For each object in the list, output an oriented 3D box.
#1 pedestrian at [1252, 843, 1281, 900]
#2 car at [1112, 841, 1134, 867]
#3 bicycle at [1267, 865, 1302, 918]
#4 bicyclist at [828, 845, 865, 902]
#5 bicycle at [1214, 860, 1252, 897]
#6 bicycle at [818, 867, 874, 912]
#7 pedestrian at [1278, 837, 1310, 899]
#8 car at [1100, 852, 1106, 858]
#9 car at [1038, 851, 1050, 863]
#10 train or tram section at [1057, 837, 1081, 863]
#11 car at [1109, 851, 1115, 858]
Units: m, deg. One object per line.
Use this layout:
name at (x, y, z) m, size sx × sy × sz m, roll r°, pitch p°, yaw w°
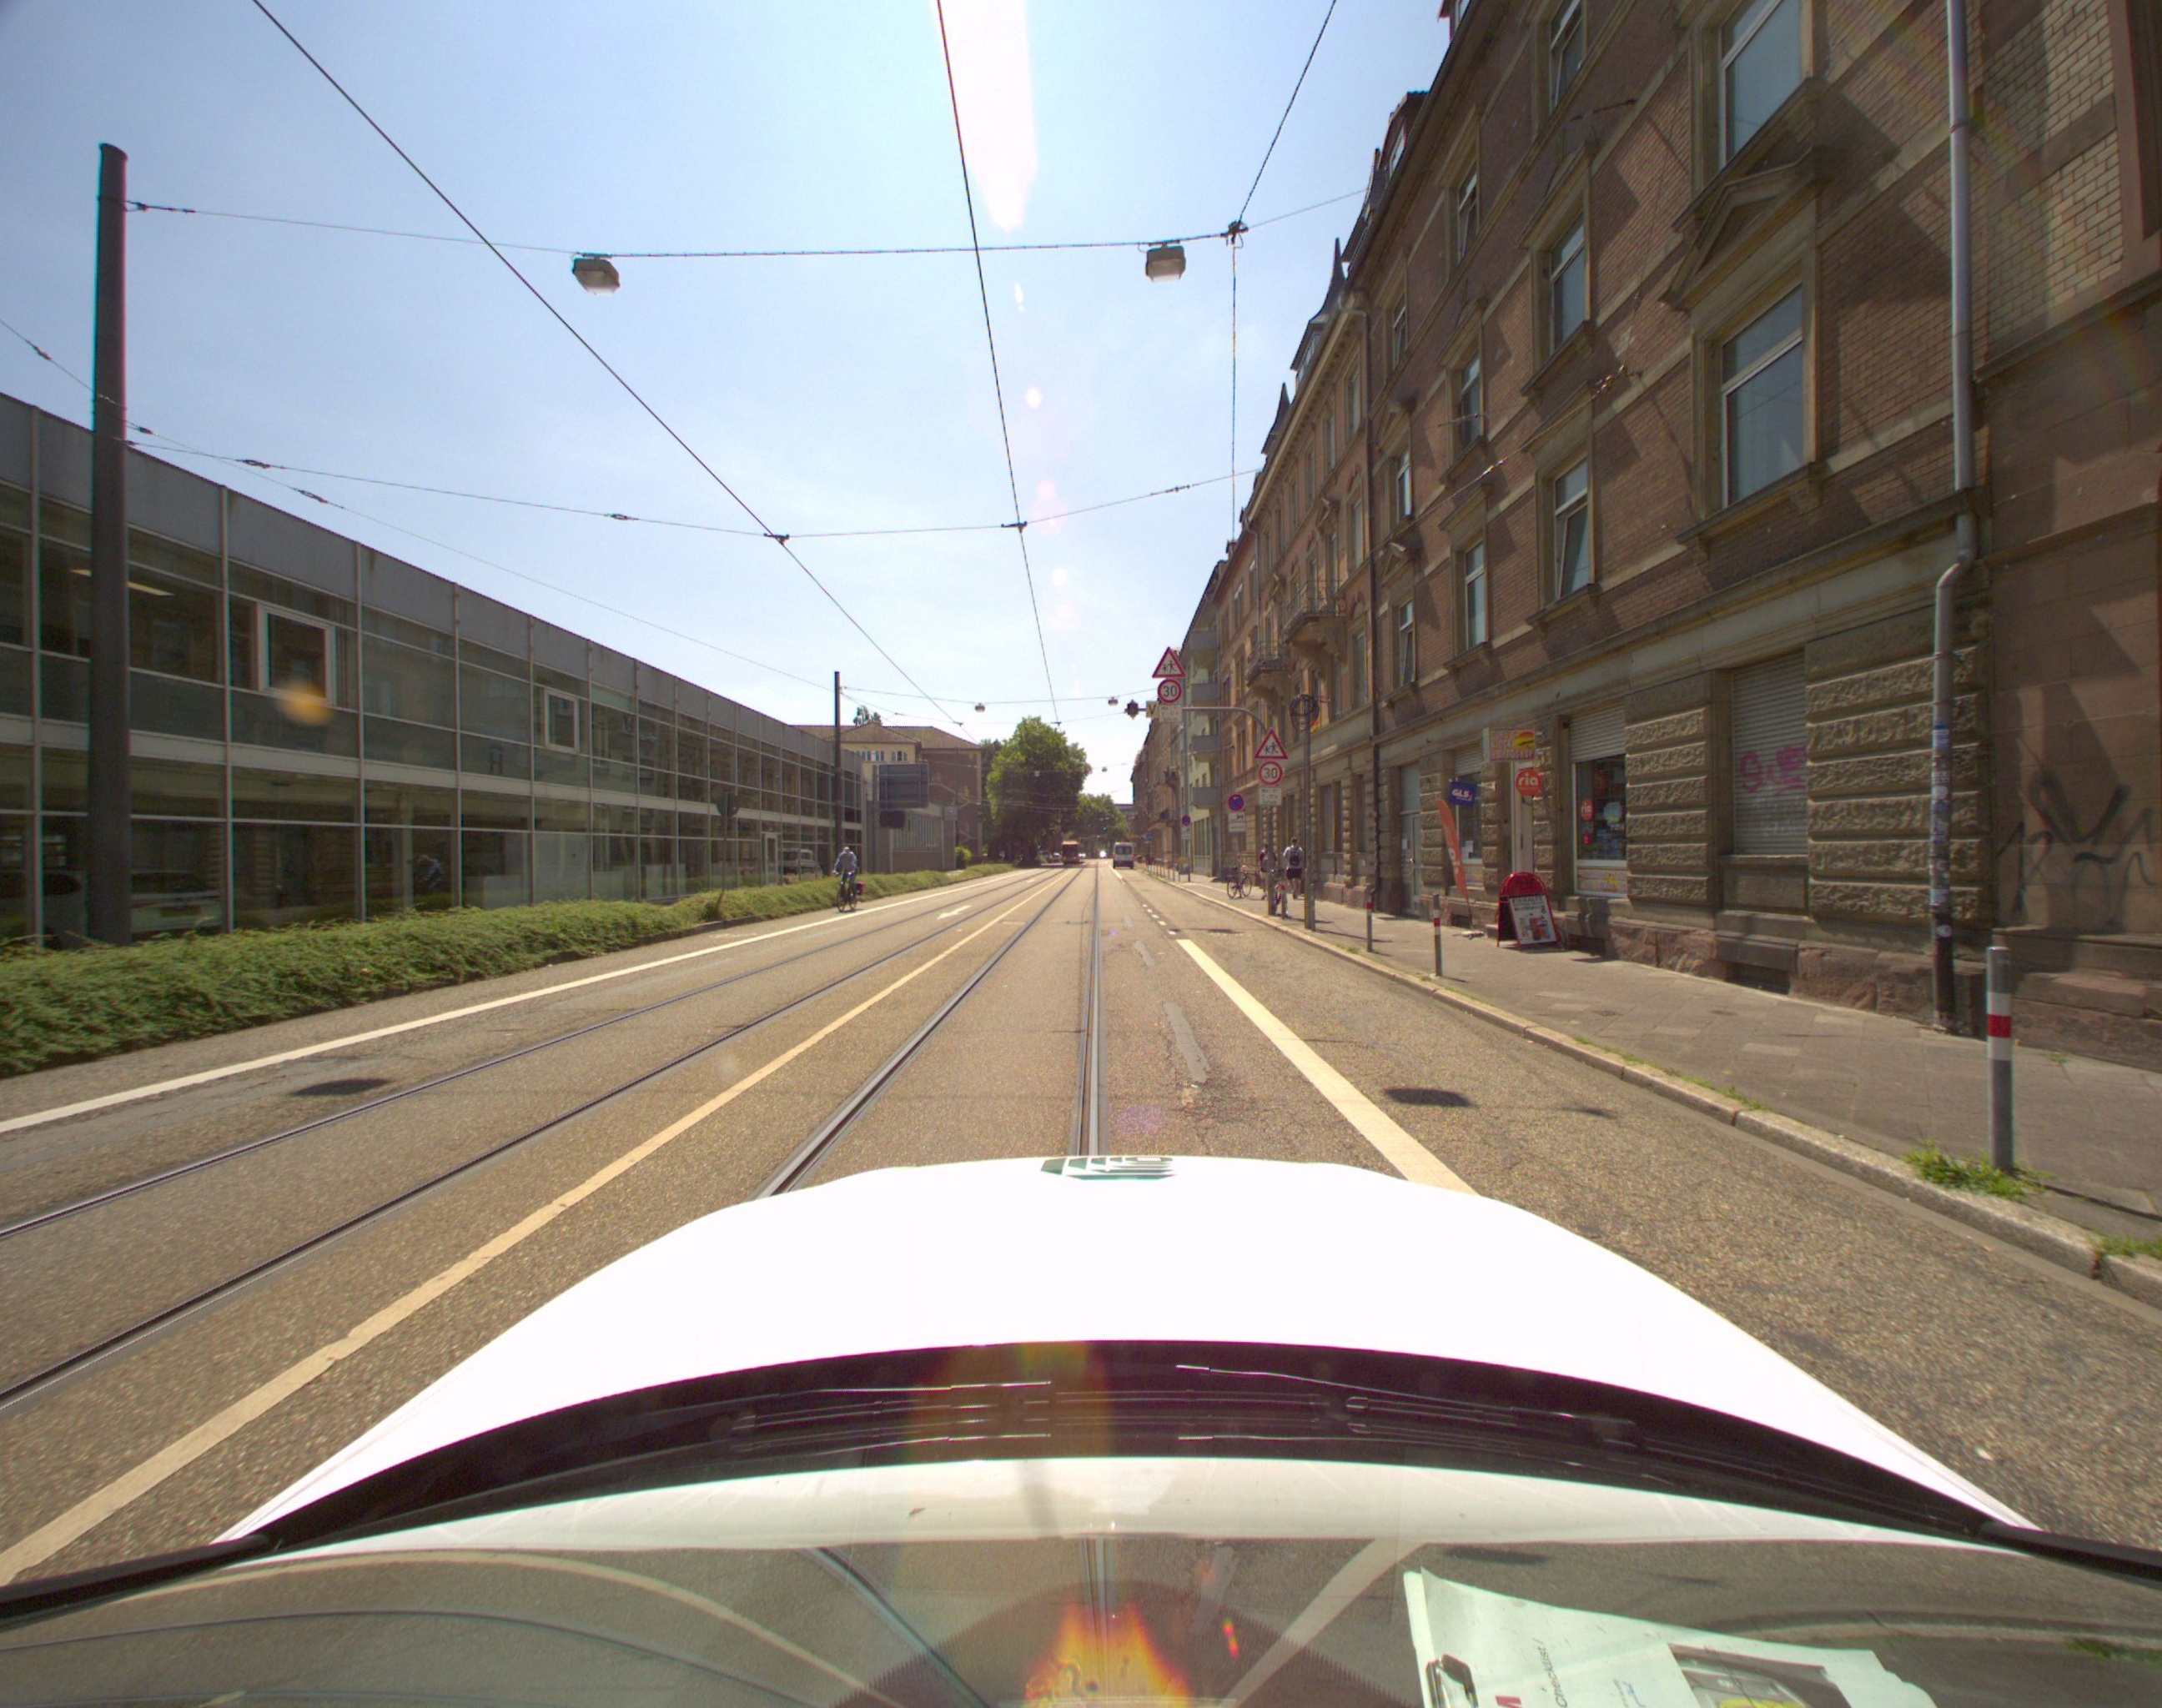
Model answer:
pedestrian at (5.743, 0.543, 25.208) m, size 0.717 × 1.720 × 0.644 m, roll -1°, pitch 0°, yaw 2°
car at (4.065, 0.020, 80.049) m, size 2.059 × 2.501 × 5.457 m, roll 0°, pitch 0°, yaw 2°
bicycle at (4.652, 0.825, 18.732) m, size 0.445 × 1.097 × 2.427 m, roll -2°, pitch 0°, yaw 7°
bicyclist at (-6.620, 0.545, 23.013) m, size 0.695 × 1.548 × 0.981 m, roll -1°, pitch 0°, yaw 3°
bicycle at (5.073, 0.807, 27.035) m, size 0.494 × 1.130 × 2.257 m, roll -2°, pitch 0°, yaw 30°
bicycle at (-6.617, 0.968, 23.054) m, size 0.695 × 1.144 × 2.498 m, roll -1°, pitch 0°, yaw 4°
pedestrian at (6.555, 0.425, 25.107) m, size 0.700 × 1.848 × 0.644 m, roll -5°, pitch 0°, yaw 2°
car at (6.151, 0.287, 227.842) m, size 1.524 × 1.408 × 3.488 m, roll 0°, pitch 0°, yaw -1°
car at (-5.898, 0.415, 130.998) m, size 1.795 × 1.923 × 3.998 m, roll 0°, pitch 0°, yaw -1°
train or tram section at (-1.668, -0.604, 119.918) m, size 2.950 × 3.580 × 13.424 m, roll -1°, pitch 0°, yaw 1°
car at (8.992, 0.090, 235.759) m, size 1.669 × 1.860 × 3.997 m, roll 0°, pitch 0°, yaw -2°
